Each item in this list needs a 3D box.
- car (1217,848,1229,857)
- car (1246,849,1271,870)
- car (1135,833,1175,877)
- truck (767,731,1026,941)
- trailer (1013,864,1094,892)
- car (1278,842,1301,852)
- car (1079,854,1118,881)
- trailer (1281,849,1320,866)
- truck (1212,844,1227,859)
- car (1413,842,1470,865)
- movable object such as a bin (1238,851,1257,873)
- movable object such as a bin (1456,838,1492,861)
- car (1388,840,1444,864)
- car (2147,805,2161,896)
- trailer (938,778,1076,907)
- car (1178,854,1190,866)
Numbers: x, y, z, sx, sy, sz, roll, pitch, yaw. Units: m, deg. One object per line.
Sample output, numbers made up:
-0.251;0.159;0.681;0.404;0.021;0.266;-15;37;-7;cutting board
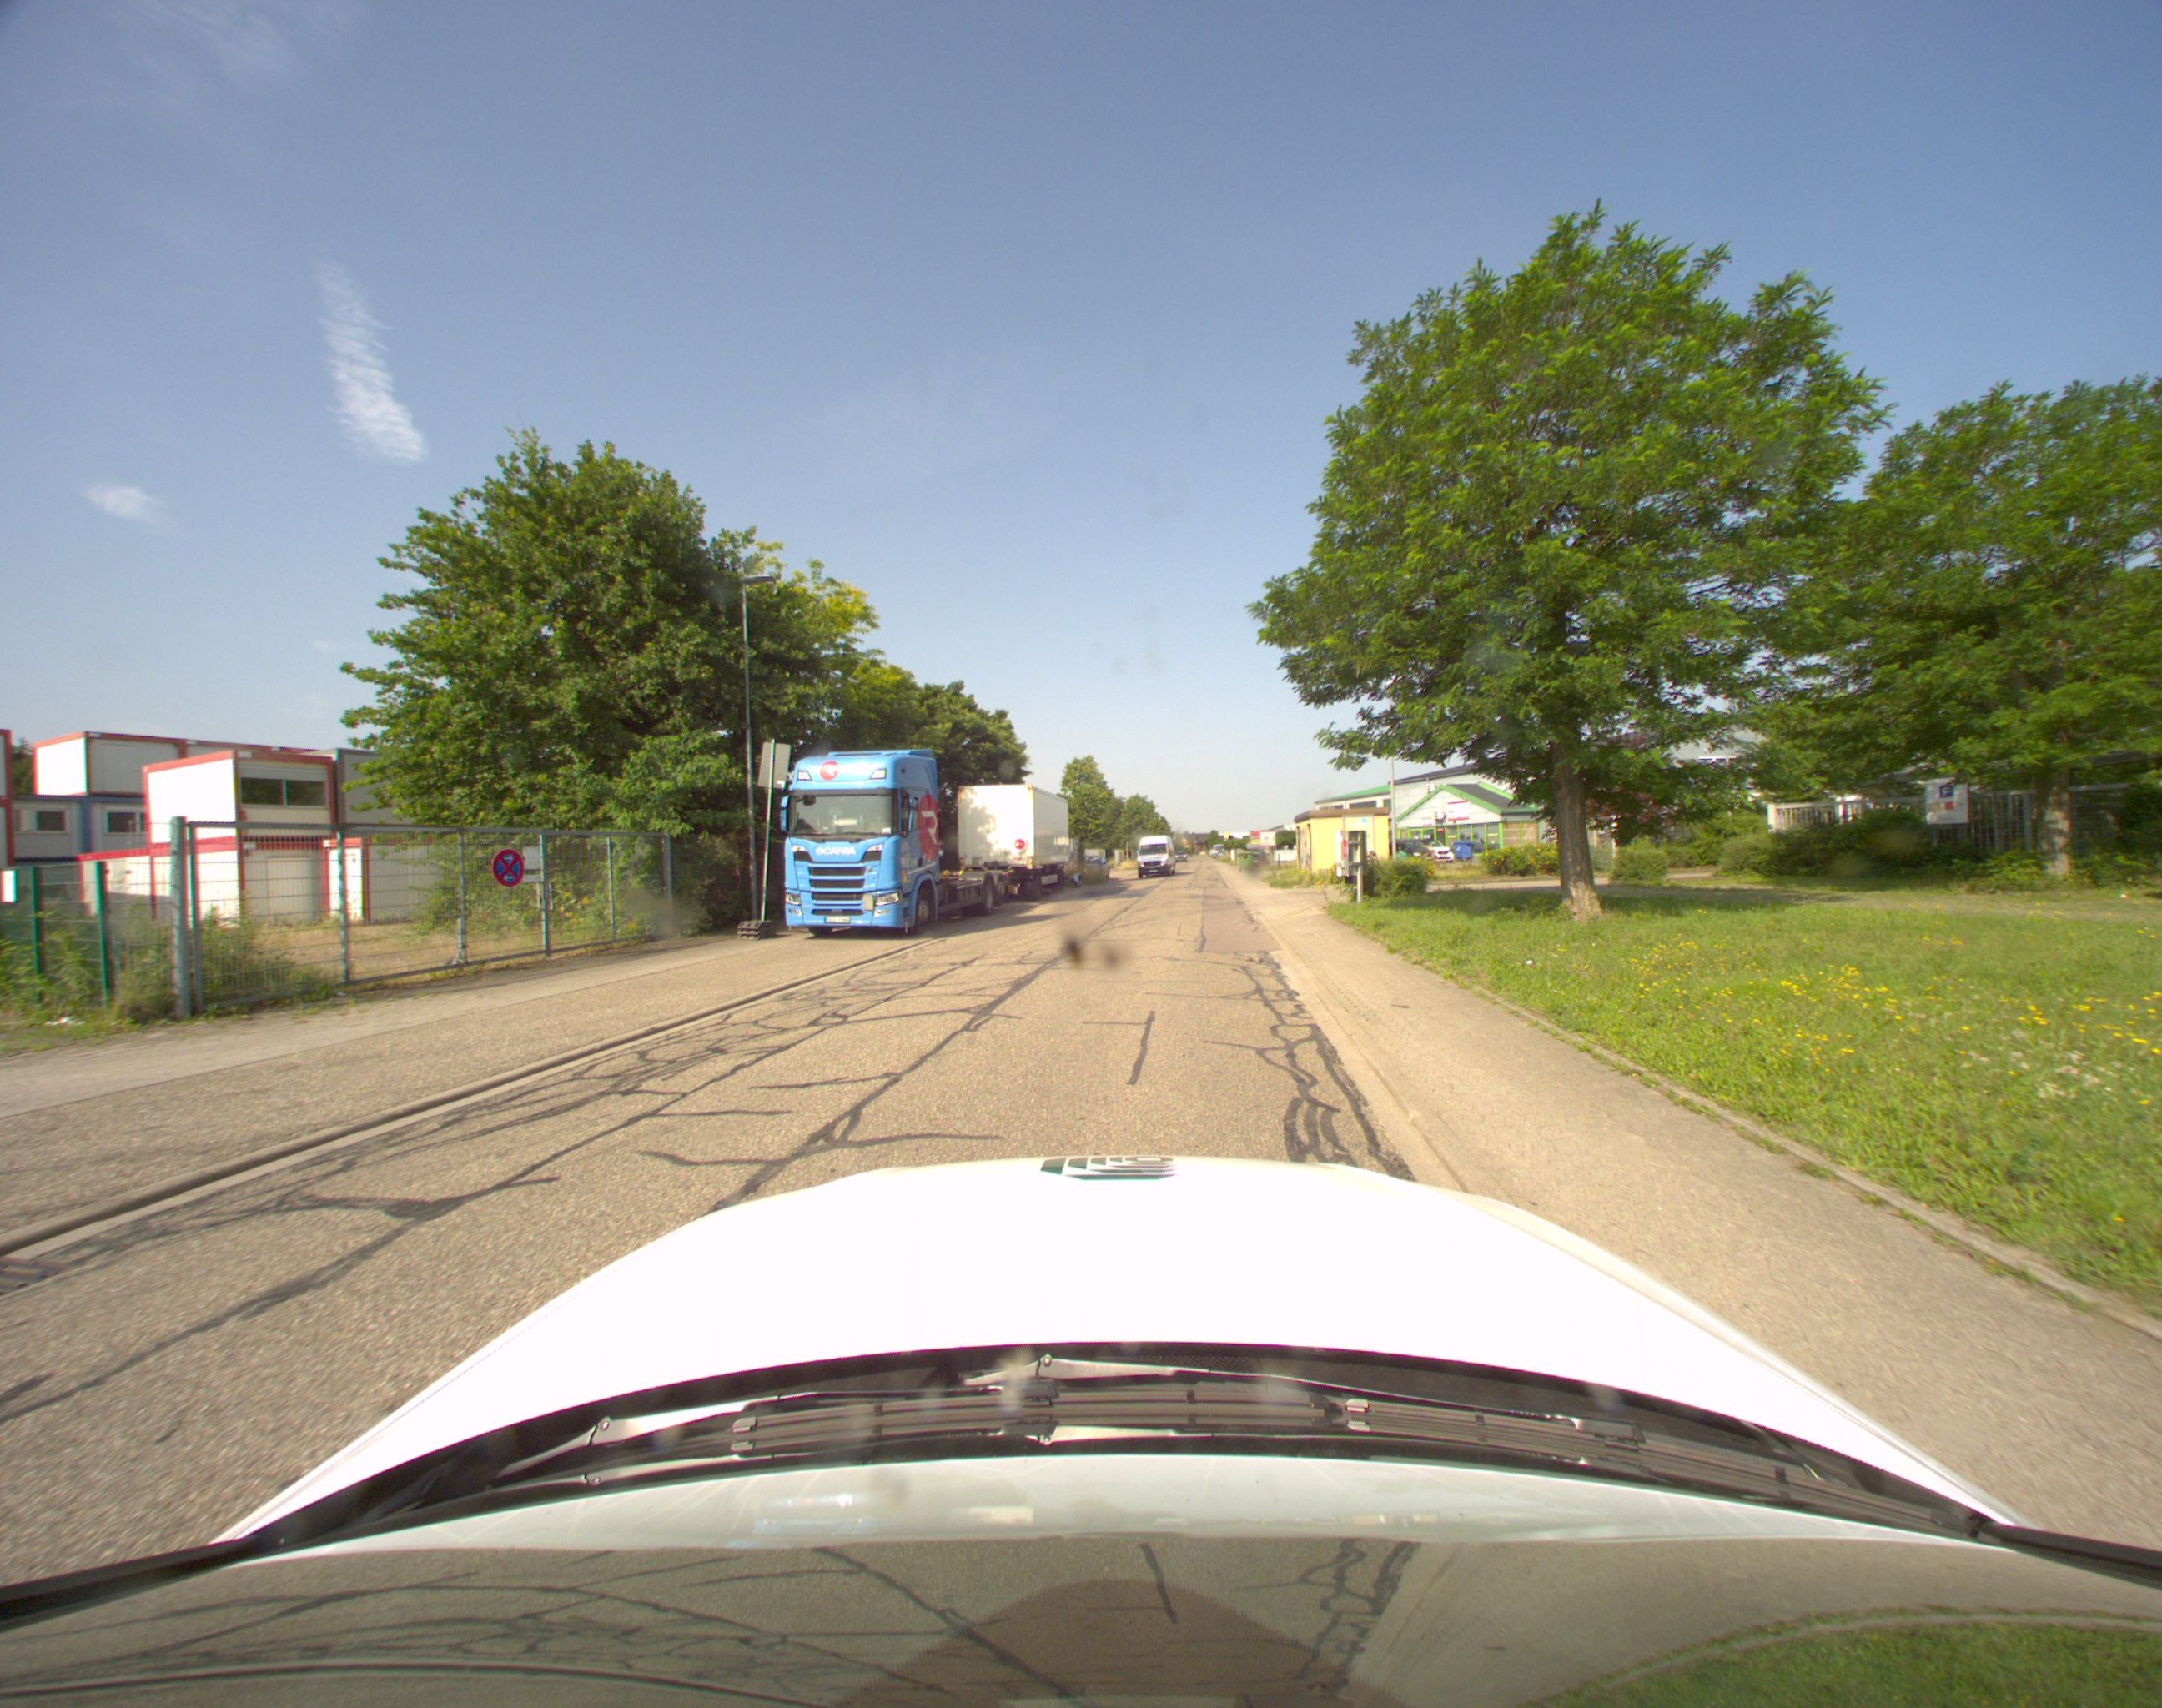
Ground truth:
23.710;-0.235;136.262;1.784;1.517;4.434;-2;0;8;car
12.792;0.364;58.591;1.662;1.368;4.409;-2;0;13;car
4.867;0.033;52.430;1.982;2.547;7.007;-3;0;9;car
-3.803;-0.333;19.987;2.697;3.884;9.661;-1;0;9;truck
-1.101;1.057;37.491;2.634;0.985;6.257;-3;0;8;trailer
39.442;-1.319;153.759;4.554;1.589;1.669;-2;0;-36;car
1.105;0.786;48.858;1.677;1.470;4.105;-2;0;10;car
16.548;0.253;61.495;1.494;1.248;2.960;-1;0;-17;trailer
27.173;-0.529;159.965;2.348;2.681;6.520;-2;0;5;truck
22.308;-0.028;50.511;1.582;1.345;3.174;-2;0;-13;car
10.781;0.498;52.873;1.074;1.353;1.510;-5;-1;9;movable object such as a bin
24.899;-0.275;51.592;0.998;1.345;1.999;-2;0;-13;movable object such as a bin
20.364;-0.094;49.602;1.582;1.345;3.174;-2;0;-13;car
19.372;-0.139;12.694;4.031;1.463;1.792;-2;0;-12;car
-2.279;-0.357;29.566;2.684;3.884;9.788;-1;0;9;trailer
16.099;0.922;127.294;1.801;1.627;4.259;-3;0;8;car
